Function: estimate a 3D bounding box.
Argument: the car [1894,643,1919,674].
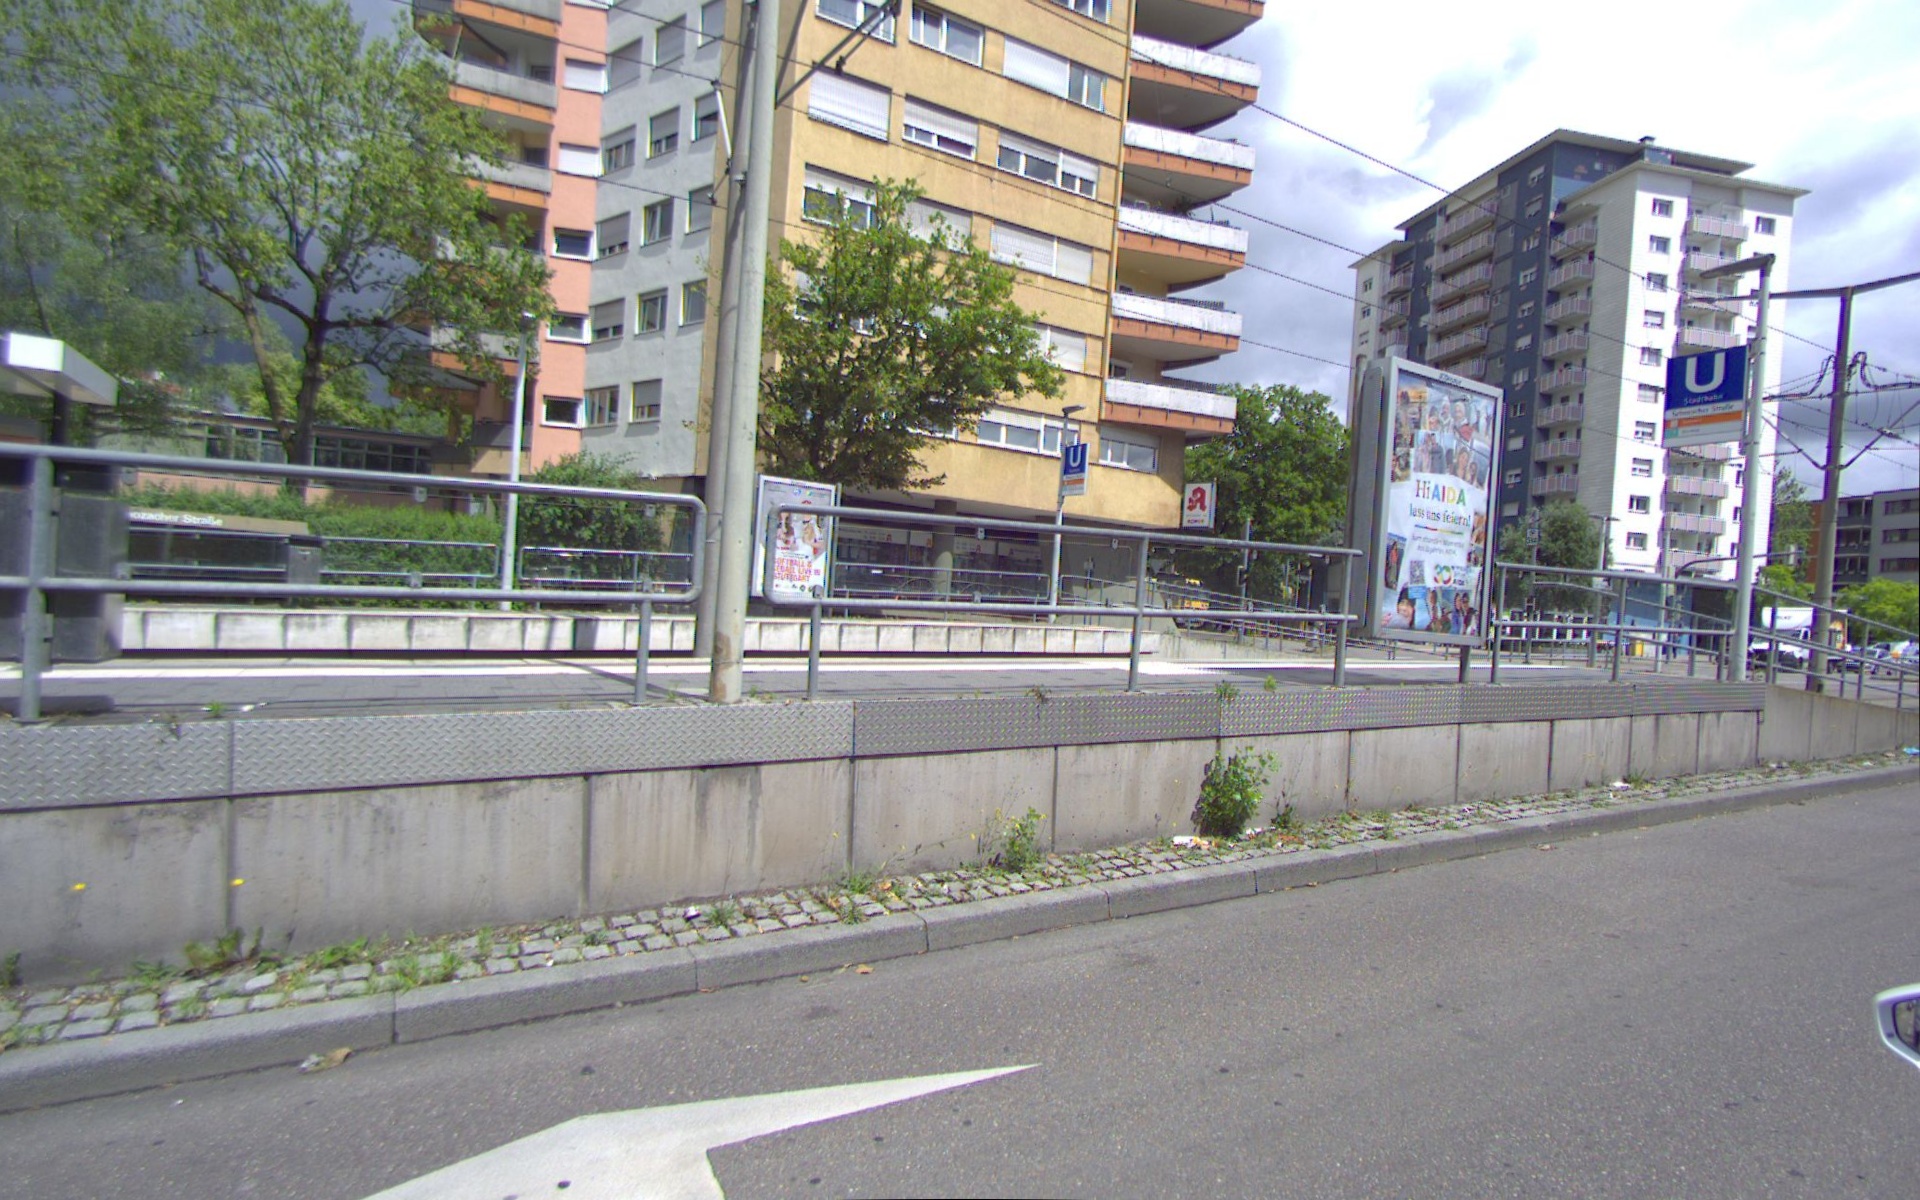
[{"bbox_3d":[58.026,3.528,60.511,3.732,1.780,1.583,2,0,-31],"label":"car"}]

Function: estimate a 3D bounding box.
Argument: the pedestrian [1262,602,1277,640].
[{"bbox_3d":[16.830,1.142,54.593,0.532,2.040,0.559,2,0,40],"label":"pedestrian"}]

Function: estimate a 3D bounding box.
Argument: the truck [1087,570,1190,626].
[{"bbox_3d":[7.981,-0.113,45.240,2.323,2.320,4.260,2,0,-29],"label":"truck"}]

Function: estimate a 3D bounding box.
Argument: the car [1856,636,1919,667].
[{"bbox_3d":[64.295,3.536,68.922,3.846,2.001,1.657,2,0,18],"label":"car"}]

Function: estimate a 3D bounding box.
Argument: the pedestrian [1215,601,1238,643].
[{"bbox_3d":[11.720,0.966,44.196,0.655,1.799,0.652,2,0,-33],"label":"pedestrian"}]

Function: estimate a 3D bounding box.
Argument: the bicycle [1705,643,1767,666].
[{"bbox_3d":[41.877,2.925,54.251,2.521,1.022,0.754,4,0,33],"label":"bicycle"}]

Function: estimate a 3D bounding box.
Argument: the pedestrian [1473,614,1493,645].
[{"bbox_3d":[35.929,2.025,68.984,0.831,2.040,0.861,2,0,-2],"label":"pedestrian"}]

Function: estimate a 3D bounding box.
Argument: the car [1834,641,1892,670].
[{"bbox_3d":[49.895,3.053,55.499,3.733,1.480,1.399,2,0,-32],"label":"car"}]

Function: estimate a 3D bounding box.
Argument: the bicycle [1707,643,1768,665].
[{"bbox_3d":[42.554,2.956,54.984,2.521,1.022,0.754,4,0,33],"label":"bicycle"}]

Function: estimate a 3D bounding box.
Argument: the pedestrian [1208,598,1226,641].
[{"bbox_3d":[12.494,0.949,48.823,0.556,2.040,0.535,2,0,-35],"label":"pedestrian"}]

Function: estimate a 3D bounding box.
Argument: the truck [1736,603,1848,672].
[{"bbox_3d":[41.317,1.859,49.802,7.244,3.159,2.267,2,0,-34],"label":"truck"}]
